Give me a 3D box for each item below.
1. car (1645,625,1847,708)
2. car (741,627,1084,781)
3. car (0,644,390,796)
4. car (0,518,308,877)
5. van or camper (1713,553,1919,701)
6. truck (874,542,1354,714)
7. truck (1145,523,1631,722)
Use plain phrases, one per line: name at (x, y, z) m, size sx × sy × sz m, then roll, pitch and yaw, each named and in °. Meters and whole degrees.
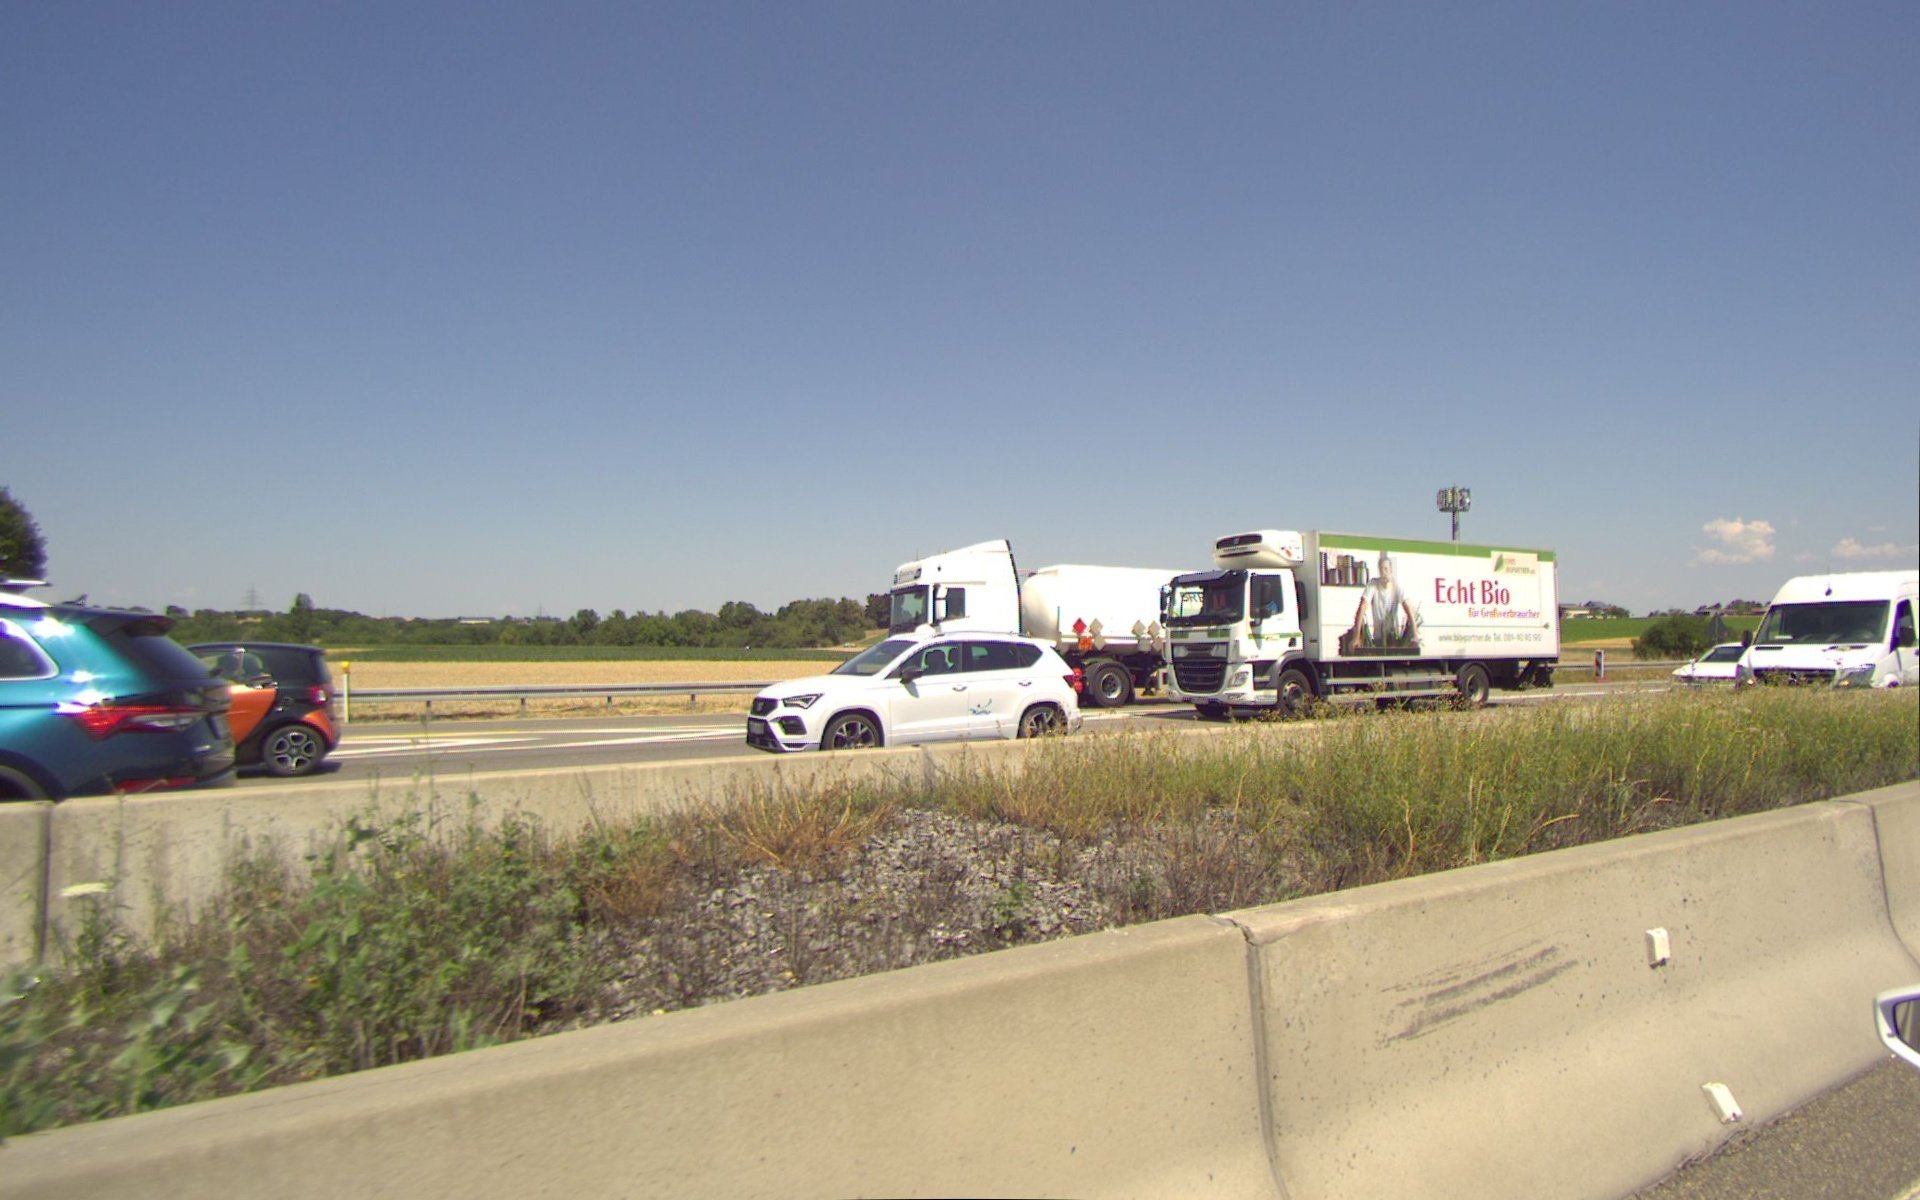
car at (18.211, 1.476, 23.188) m, size 5.460 × 1.732 × 1.876 m, roll 1°, pitch -3°, yaw -32°
car at (-0.529, 1.163, 12.444) m, size 3.998 × 1.643 × 1.551 m, roll 1°, pitch -2°, yaw -31°
car at (-8.886, 1.292, 11.682) m, size 3.891 × 1.535 × 1.556 m, roll 1°, pitch -3°, yaw -30°
car at (-5.785, 0.429, 4.664) m, size 4.487 × 1.611 × 1.774 m, roll 1°, pitch -1°, yaw -30°
van or camper at (16.335, 0.470, 17.954) m, size 7.124 × 2.251 × 2.025 m, roll 1°, pitch 0°, yaw -31°
truck at (4.386, 0.781, 26.471) m, size 13.109 × 3.825 × 2.892 m, roll 1°, pitch -4°, yaw -25°
truck at (10.255, 0.605, 22.945) m, size 13.130 × 3.656 × 2.783 m, roll 1°, pitch -4°, yaw -30°
